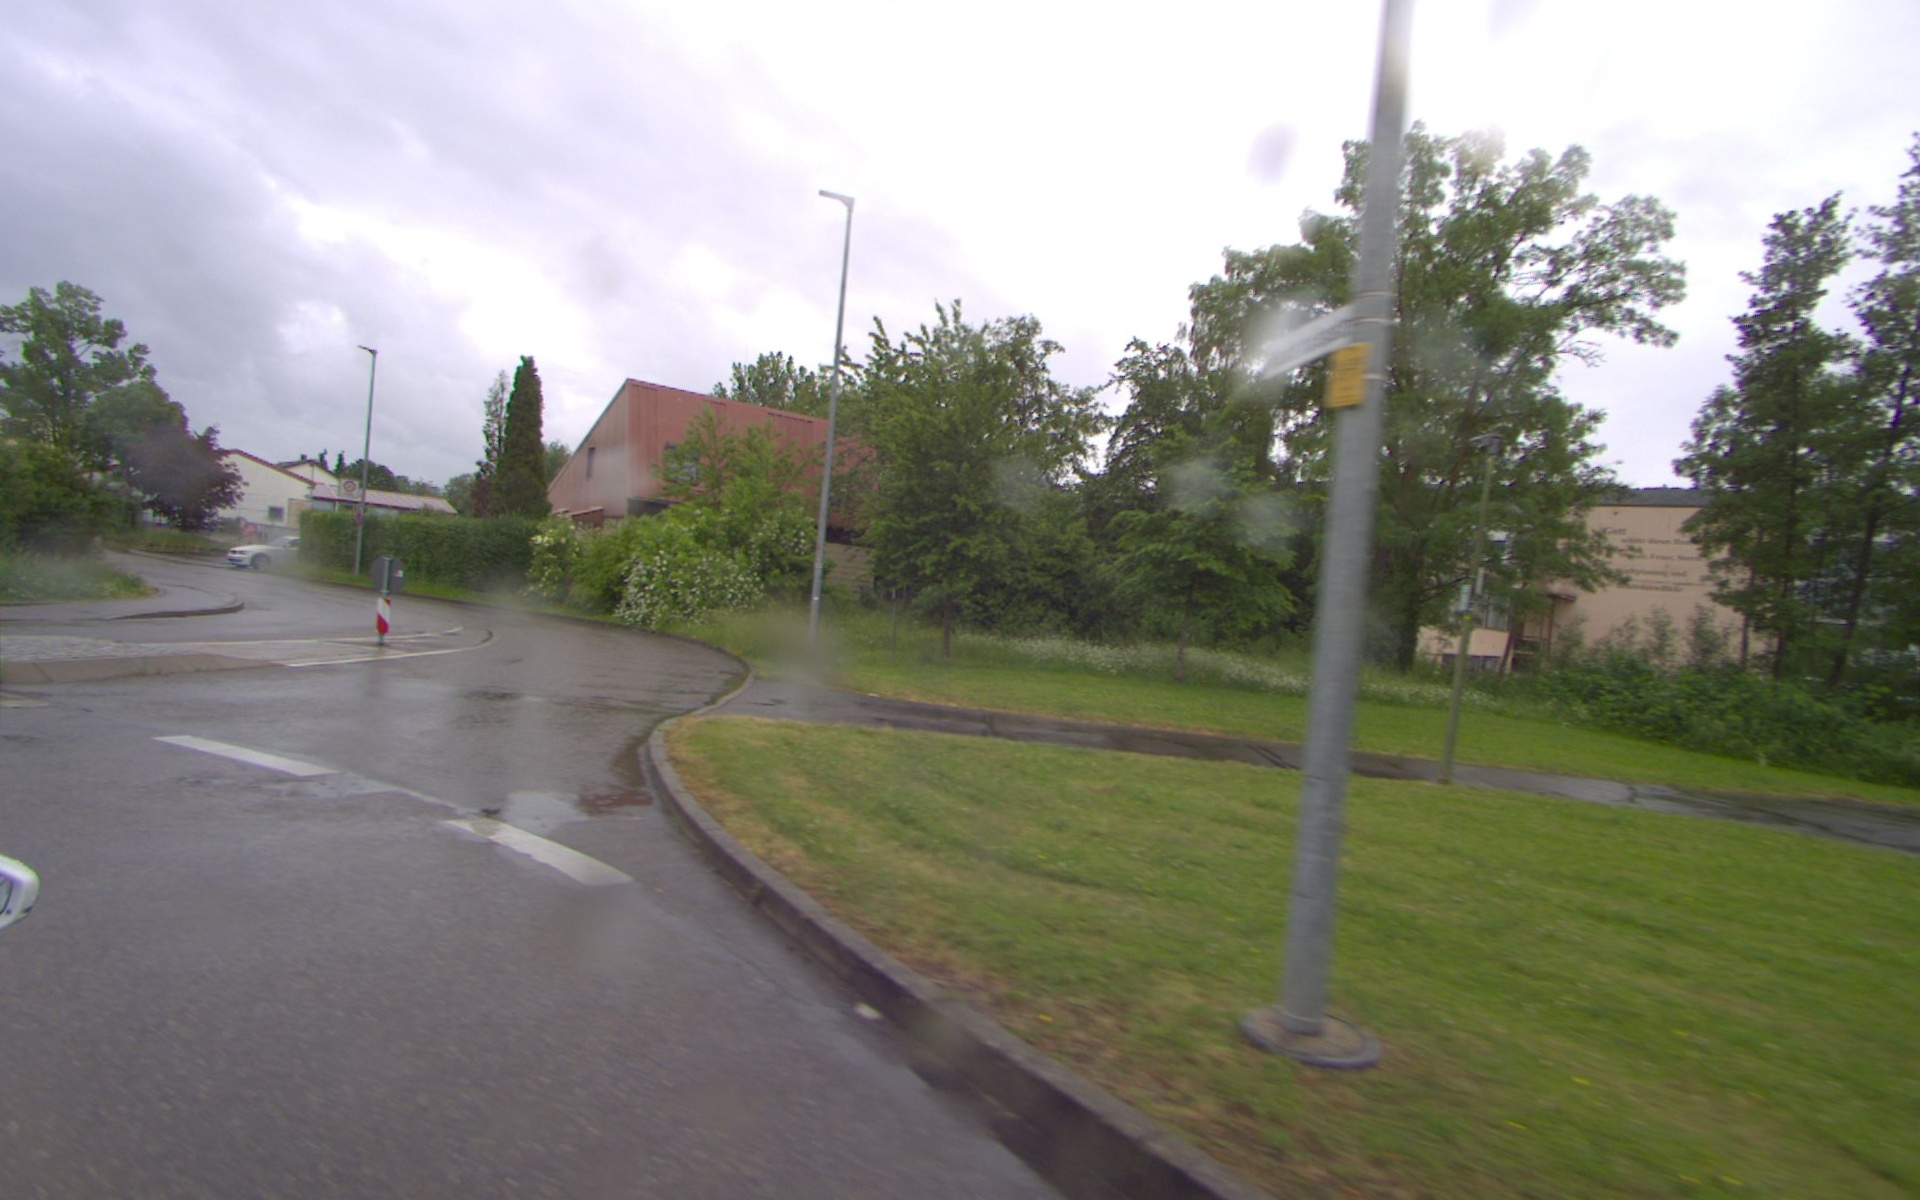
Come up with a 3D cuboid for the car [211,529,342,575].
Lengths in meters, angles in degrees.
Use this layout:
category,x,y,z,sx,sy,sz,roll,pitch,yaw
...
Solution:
category,x,y,z,sx,sy,sz,roll,pitch,yaw
car,-27.779,-1.929,40.997,1.757,1.391,3.986,6,0,36
